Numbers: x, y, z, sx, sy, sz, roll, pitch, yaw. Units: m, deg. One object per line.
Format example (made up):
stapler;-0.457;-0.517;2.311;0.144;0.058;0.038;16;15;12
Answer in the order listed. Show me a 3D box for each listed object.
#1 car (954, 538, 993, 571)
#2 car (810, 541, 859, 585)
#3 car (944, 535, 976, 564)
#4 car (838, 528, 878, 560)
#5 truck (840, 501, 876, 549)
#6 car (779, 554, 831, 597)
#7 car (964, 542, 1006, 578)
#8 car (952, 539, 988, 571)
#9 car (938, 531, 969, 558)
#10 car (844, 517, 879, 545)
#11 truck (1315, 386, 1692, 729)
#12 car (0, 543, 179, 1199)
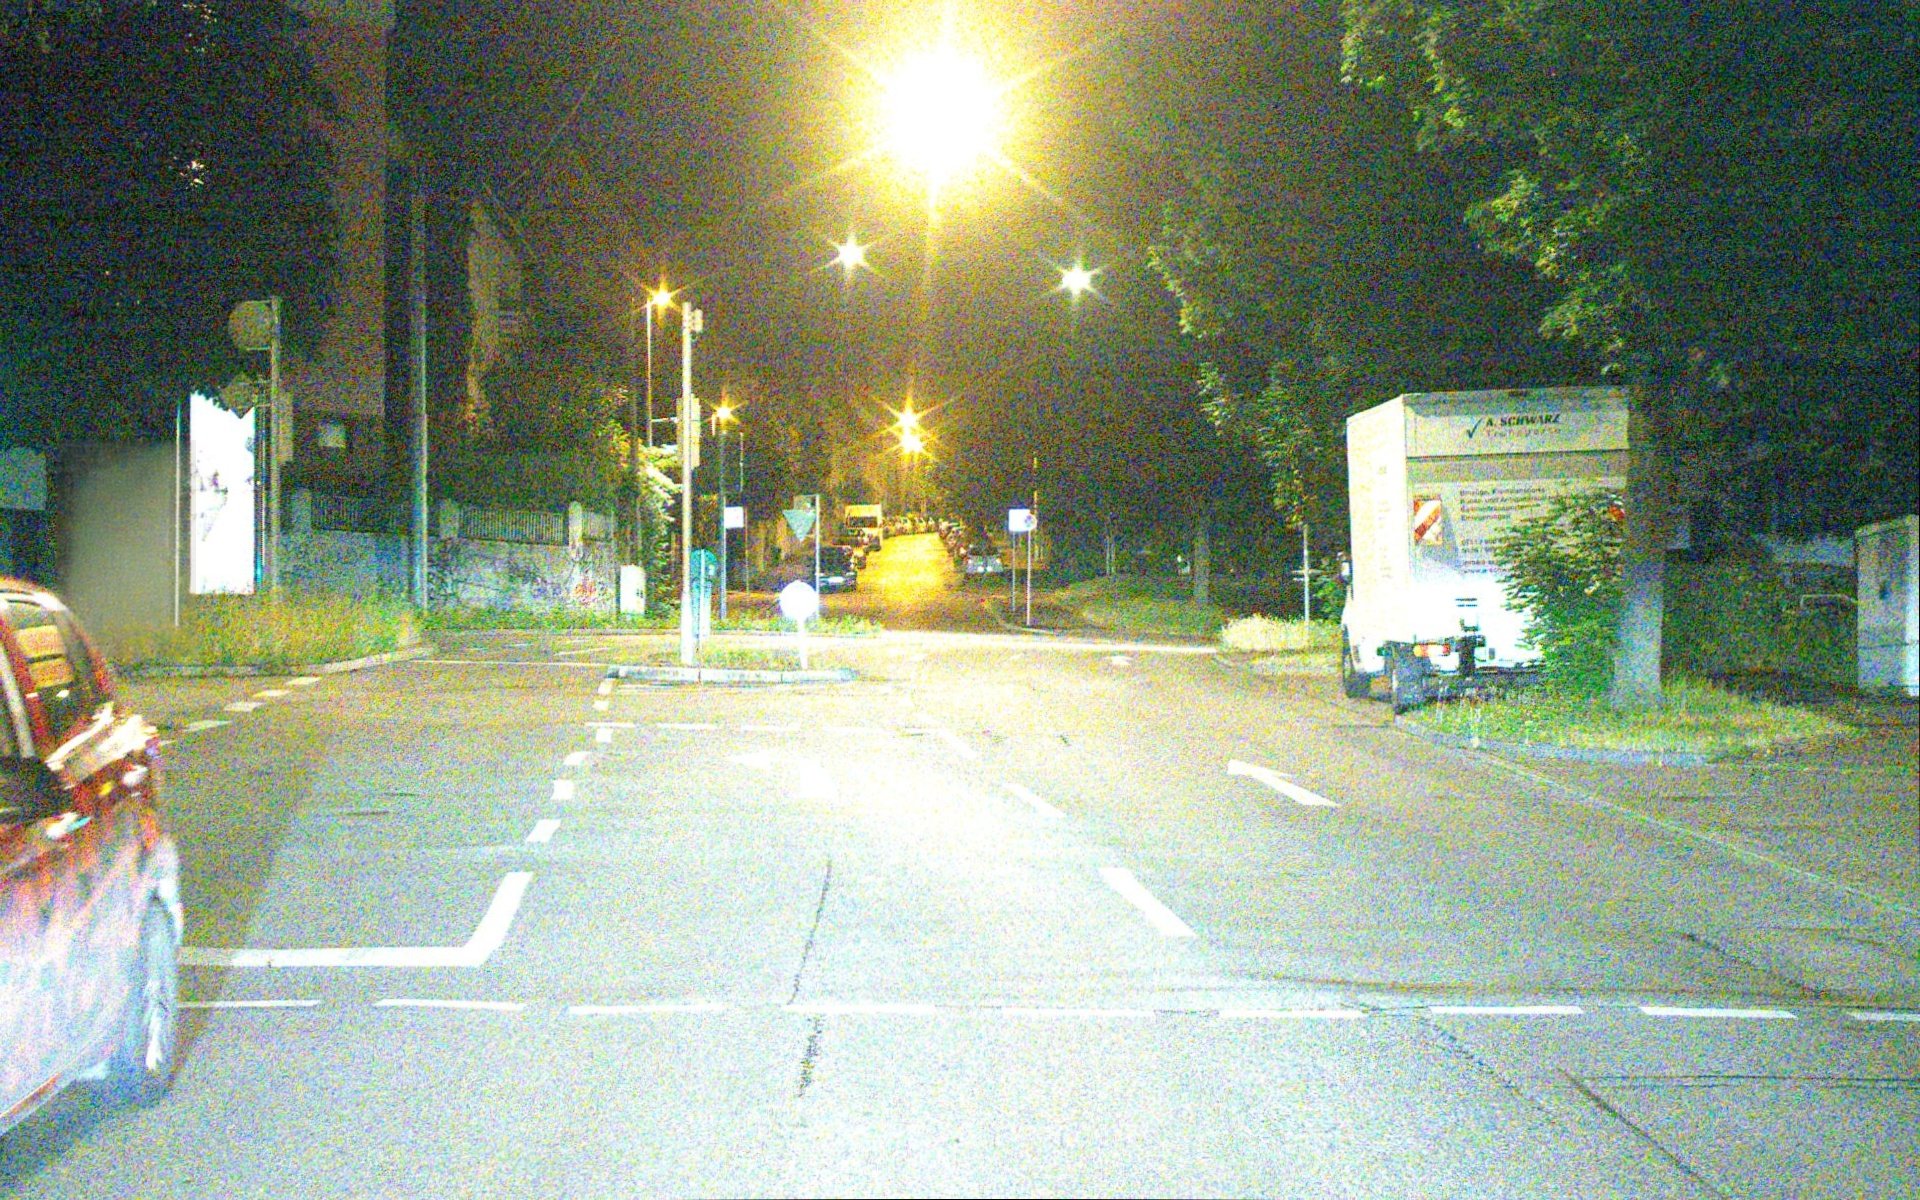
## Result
car;0.593;-2.033;153.086;1.634;1.447;3.485;1;1;-1
car;-4.893;-1.459;134.440;1.815;1.678;4.000;1;1;-1
car;-0.014;-2.619;178.509;1.634;1.447;3.485;1;1;-1
car;-4.786;-2.613;160.560;1.815;1.486;4.000;1;1;-2
truck;-6.211;-4.540;209.572;2.086;2.838;5.832;1;1;-2
car;-5.322;-0.849;118.219;1.634;1.447;3.485;1;1;-1
car;1.033;-1.675;143.353;1.634;1.447;3.485;1;1;-1
car;0.457;-2.084;159.271;1.634;1.447;3.485;1;1;-1
car;-0.371;-3.108;191.476;1.634;1.447;3.485;1;1;-1
car;-5.366;-3.734;186.942;1.815;1.486;4.000;1;1;-2
truck;5.306;-0.434;34.632;2.749;3.100;6.258;1;1;0
car;-2.880;0.619;7.809;1.581;1.496;3.396;1;1;-3
